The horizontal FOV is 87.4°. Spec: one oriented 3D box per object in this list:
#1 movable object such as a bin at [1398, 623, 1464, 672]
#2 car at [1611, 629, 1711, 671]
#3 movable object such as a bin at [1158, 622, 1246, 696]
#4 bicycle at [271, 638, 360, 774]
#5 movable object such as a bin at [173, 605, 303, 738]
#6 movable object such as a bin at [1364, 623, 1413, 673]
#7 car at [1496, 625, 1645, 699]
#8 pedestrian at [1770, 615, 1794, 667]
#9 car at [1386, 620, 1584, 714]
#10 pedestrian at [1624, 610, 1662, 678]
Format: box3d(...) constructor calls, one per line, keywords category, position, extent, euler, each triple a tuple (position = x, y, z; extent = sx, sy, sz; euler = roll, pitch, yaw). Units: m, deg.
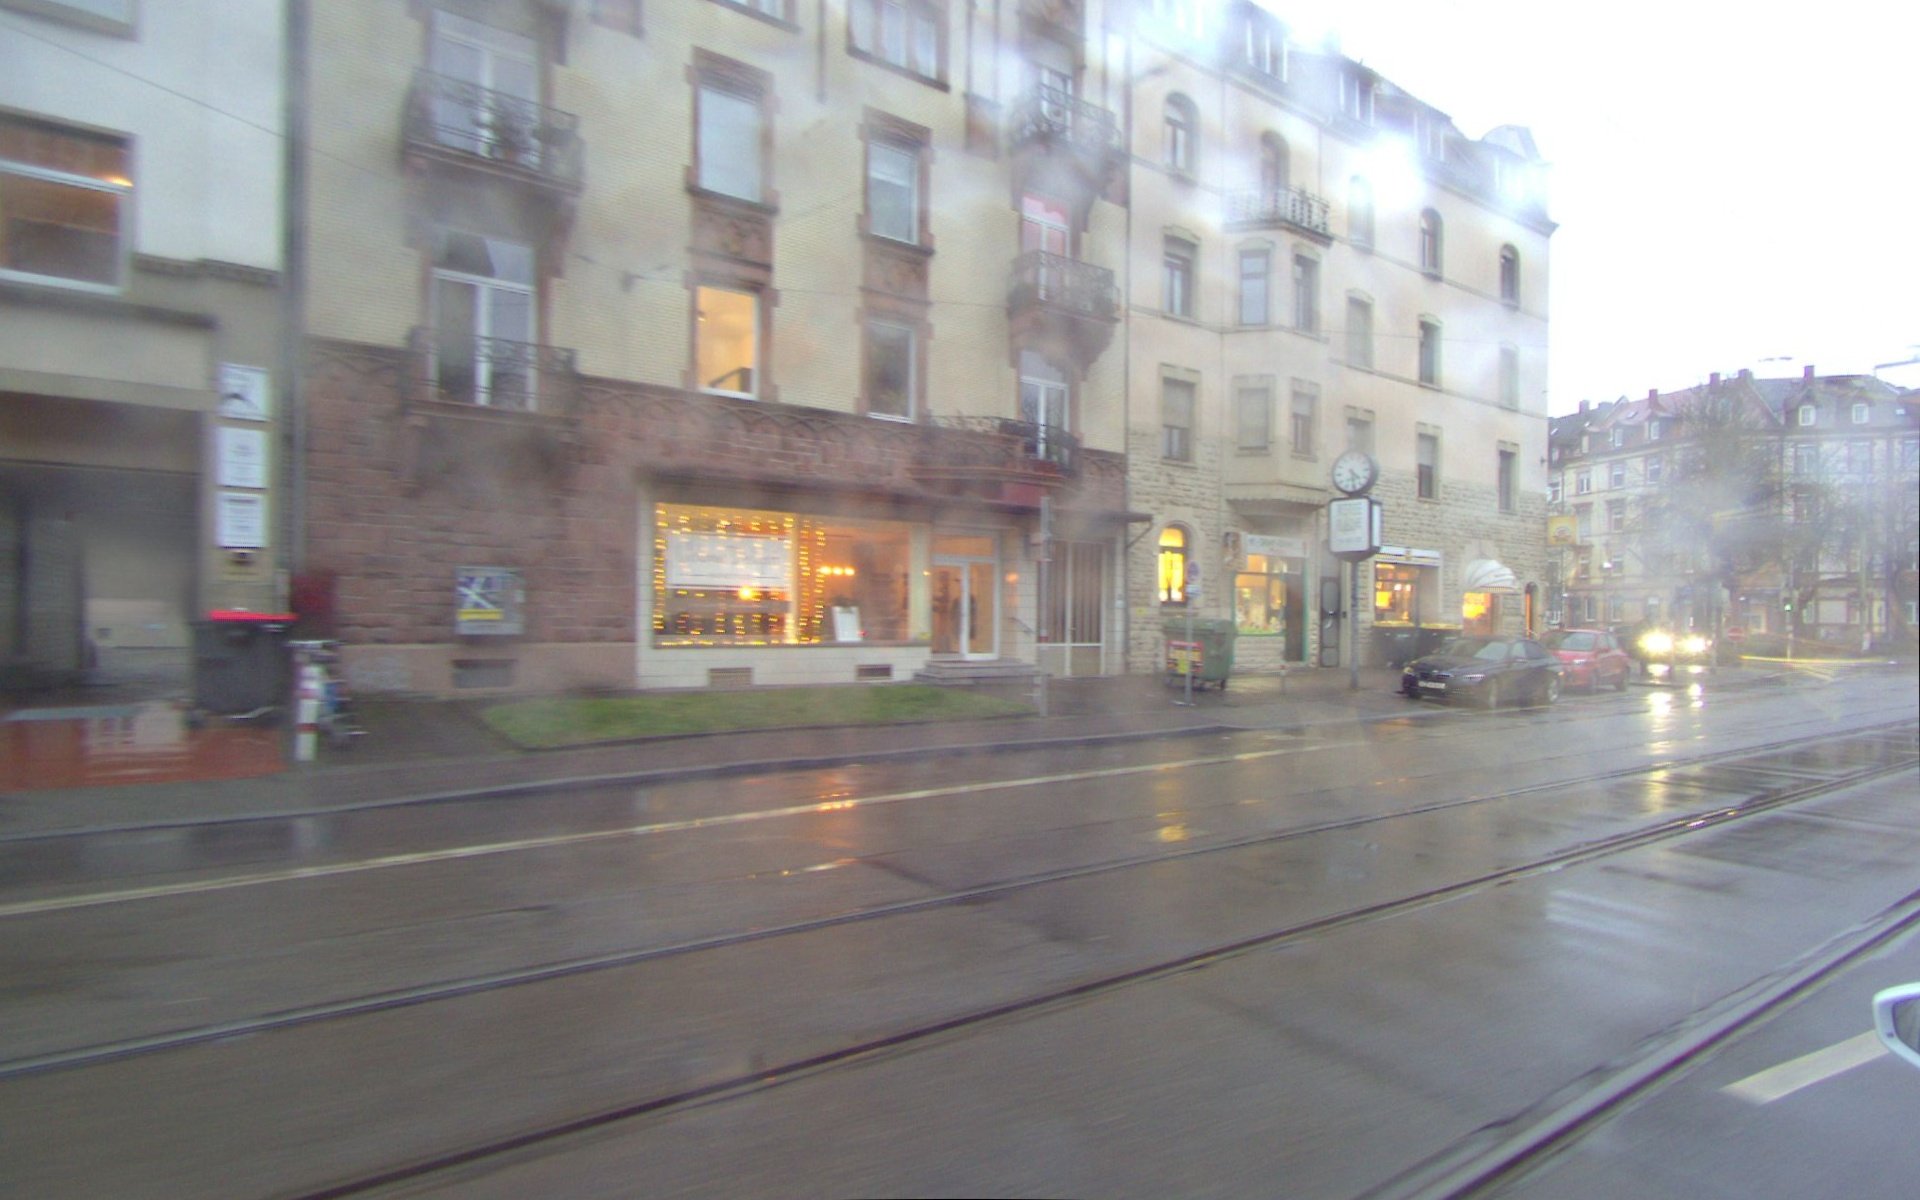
box3d(category="movable object such as a bin", position=(13.731, 1.361, 29.287), extent=(1.239, 1.385, 1.285), euler=(1, -1, -35))
box3d(category="car", position=(30.813, 2.169, 44.303), extent=(1.981, 1.695, 4.003), euler=(1, -1, 8))
box3d(category="movable object such as a bin", position=(4.980, 1.188, 20.716), extent=(1.237, 1.439, 1.260), euler=(1, -1, -34))
box3d(category="bicycle", position=(-6.678, 1.022, 10.421), extent=(0.688, 1.120, 2.335), euler=(1, 1, -33))
box3d(category="movable object such as a bin", position=(-8.386, 0.794, 11.733), extent=(1.155, 1.398, 1.096), euler=(1, 2, -33))
box3d(category="movable object such as a bin", position=(12.322, 1.378, 28.870), extent=(0.996, 1.396, 0.893), euler=(1, -1, -34))
box3d(category="car", position=(15.689, 1.523, 25.755), extent=(3.998, 1.573, 2.020), euler=(1, 3, -40))
box3d(category="pedestrian", position=(32.693, 1.621, 39.954), extent=(0.695, 2.040, 0.658), euler=(0, -1, 36))
box3d(category="car", position=(11.427, 1.390, 21.753), extent=(4.589, 1.667, 1.971), euler=(2, 3, -37))
box3d(category="pedestrian", position=(21.134, 1.350, 31.085), extent=(0.635, 2.040, 0.758), euler=(1, -1, 2))
